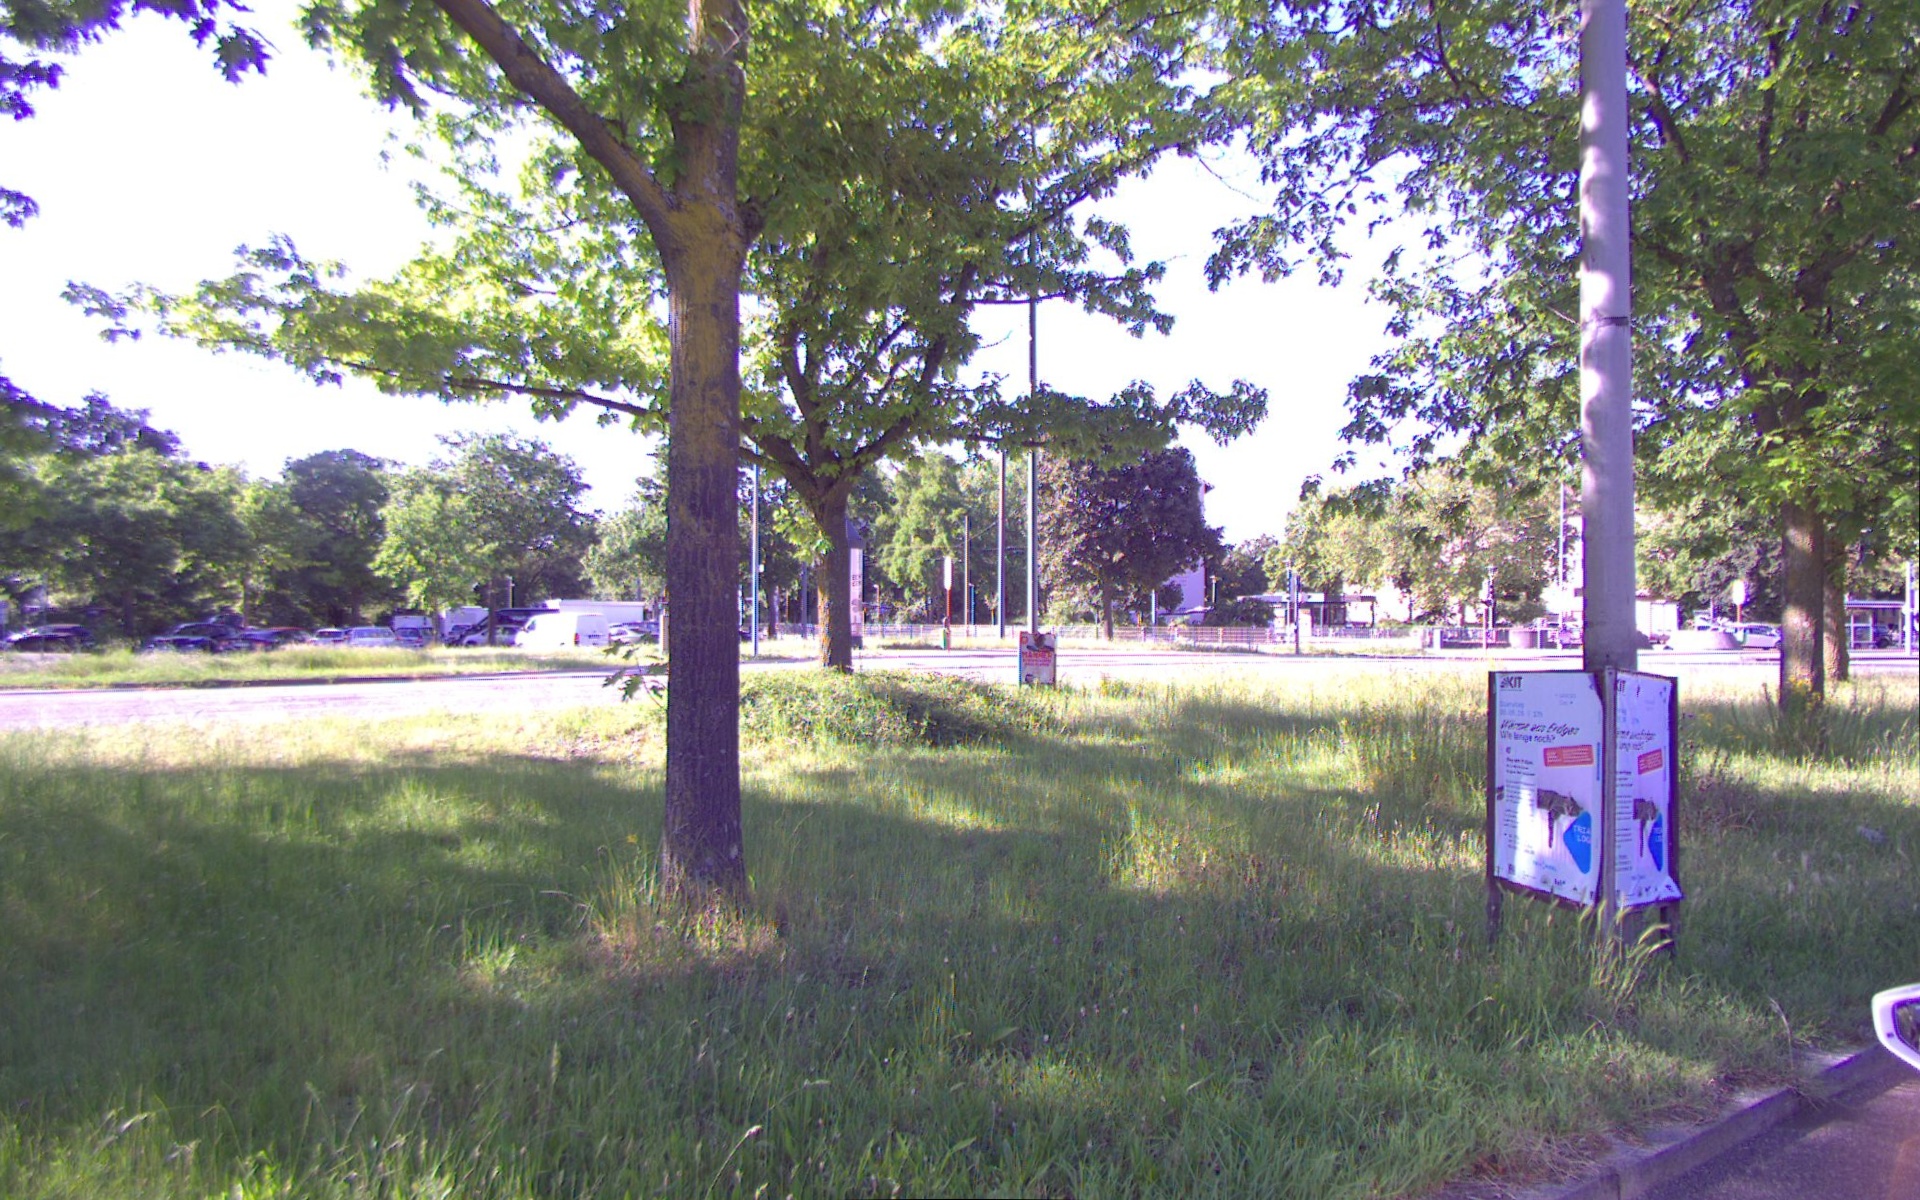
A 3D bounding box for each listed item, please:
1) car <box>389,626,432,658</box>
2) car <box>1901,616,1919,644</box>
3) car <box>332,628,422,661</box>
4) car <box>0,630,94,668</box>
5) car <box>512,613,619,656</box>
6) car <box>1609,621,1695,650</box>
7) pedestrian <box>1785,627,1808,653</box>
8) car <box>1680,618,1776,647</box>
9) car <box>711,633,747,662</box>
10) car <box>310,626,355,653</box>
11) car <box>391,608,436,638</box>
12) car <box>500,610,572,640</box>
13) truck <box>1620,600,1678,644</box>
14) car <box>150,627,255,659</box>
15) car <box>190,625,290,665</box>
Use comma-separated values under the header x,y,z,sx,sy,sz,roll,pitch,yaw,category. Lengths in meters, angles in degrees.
x,y,z,sx,sy,sz,roll,pitch,yaw,category
-26.699,2.023,48.778,1.602,1.438,3.050,1,-1,-33,car
71.768,2.217,73.348,1.910,2.040,4.155,1,-1,-31,car
-21.824,1.628,37.633,2.769,1.171,1.326,1,-1,-40,car
-47.657,2.490,51.904,1.966,1.817,3.990,0,-1,32,car
-17.216,1.469,43.799,4.670,1.762,2.024,0,-1,34,car
42.905,2.194,62.328,3.919,1.706,2.001,0,-1,9,car
53.716,2.558,64.502,0.781,1.629,0.923,0,-1,9,pedestrian
46.909,1.963,61.462,4.233,1.706,2.001,0,-1,9,car
-12.029,2.449,52.486,1.589,1.438,3.073,0,-1,-8,car
-29.292,1.819,46.864,1.603,1.194,3.047,1,-1,-35,car
-32.486,1.359,59.785,1.865,1.691,3.733,1,-1,-22,car
-24.128,1.407,57.288,3.698,1.691,1.883,1,-1,-23,car
46.643,1.476,68.087,1.960,2.842,4.002,0,-1,15,truck
-26.841,1.498,35.628,1.315,1.078,2.777,0,-1,42,car
-25.231,1.557,35.243,2.769,1.323,1.326,1,-1,-40,car
